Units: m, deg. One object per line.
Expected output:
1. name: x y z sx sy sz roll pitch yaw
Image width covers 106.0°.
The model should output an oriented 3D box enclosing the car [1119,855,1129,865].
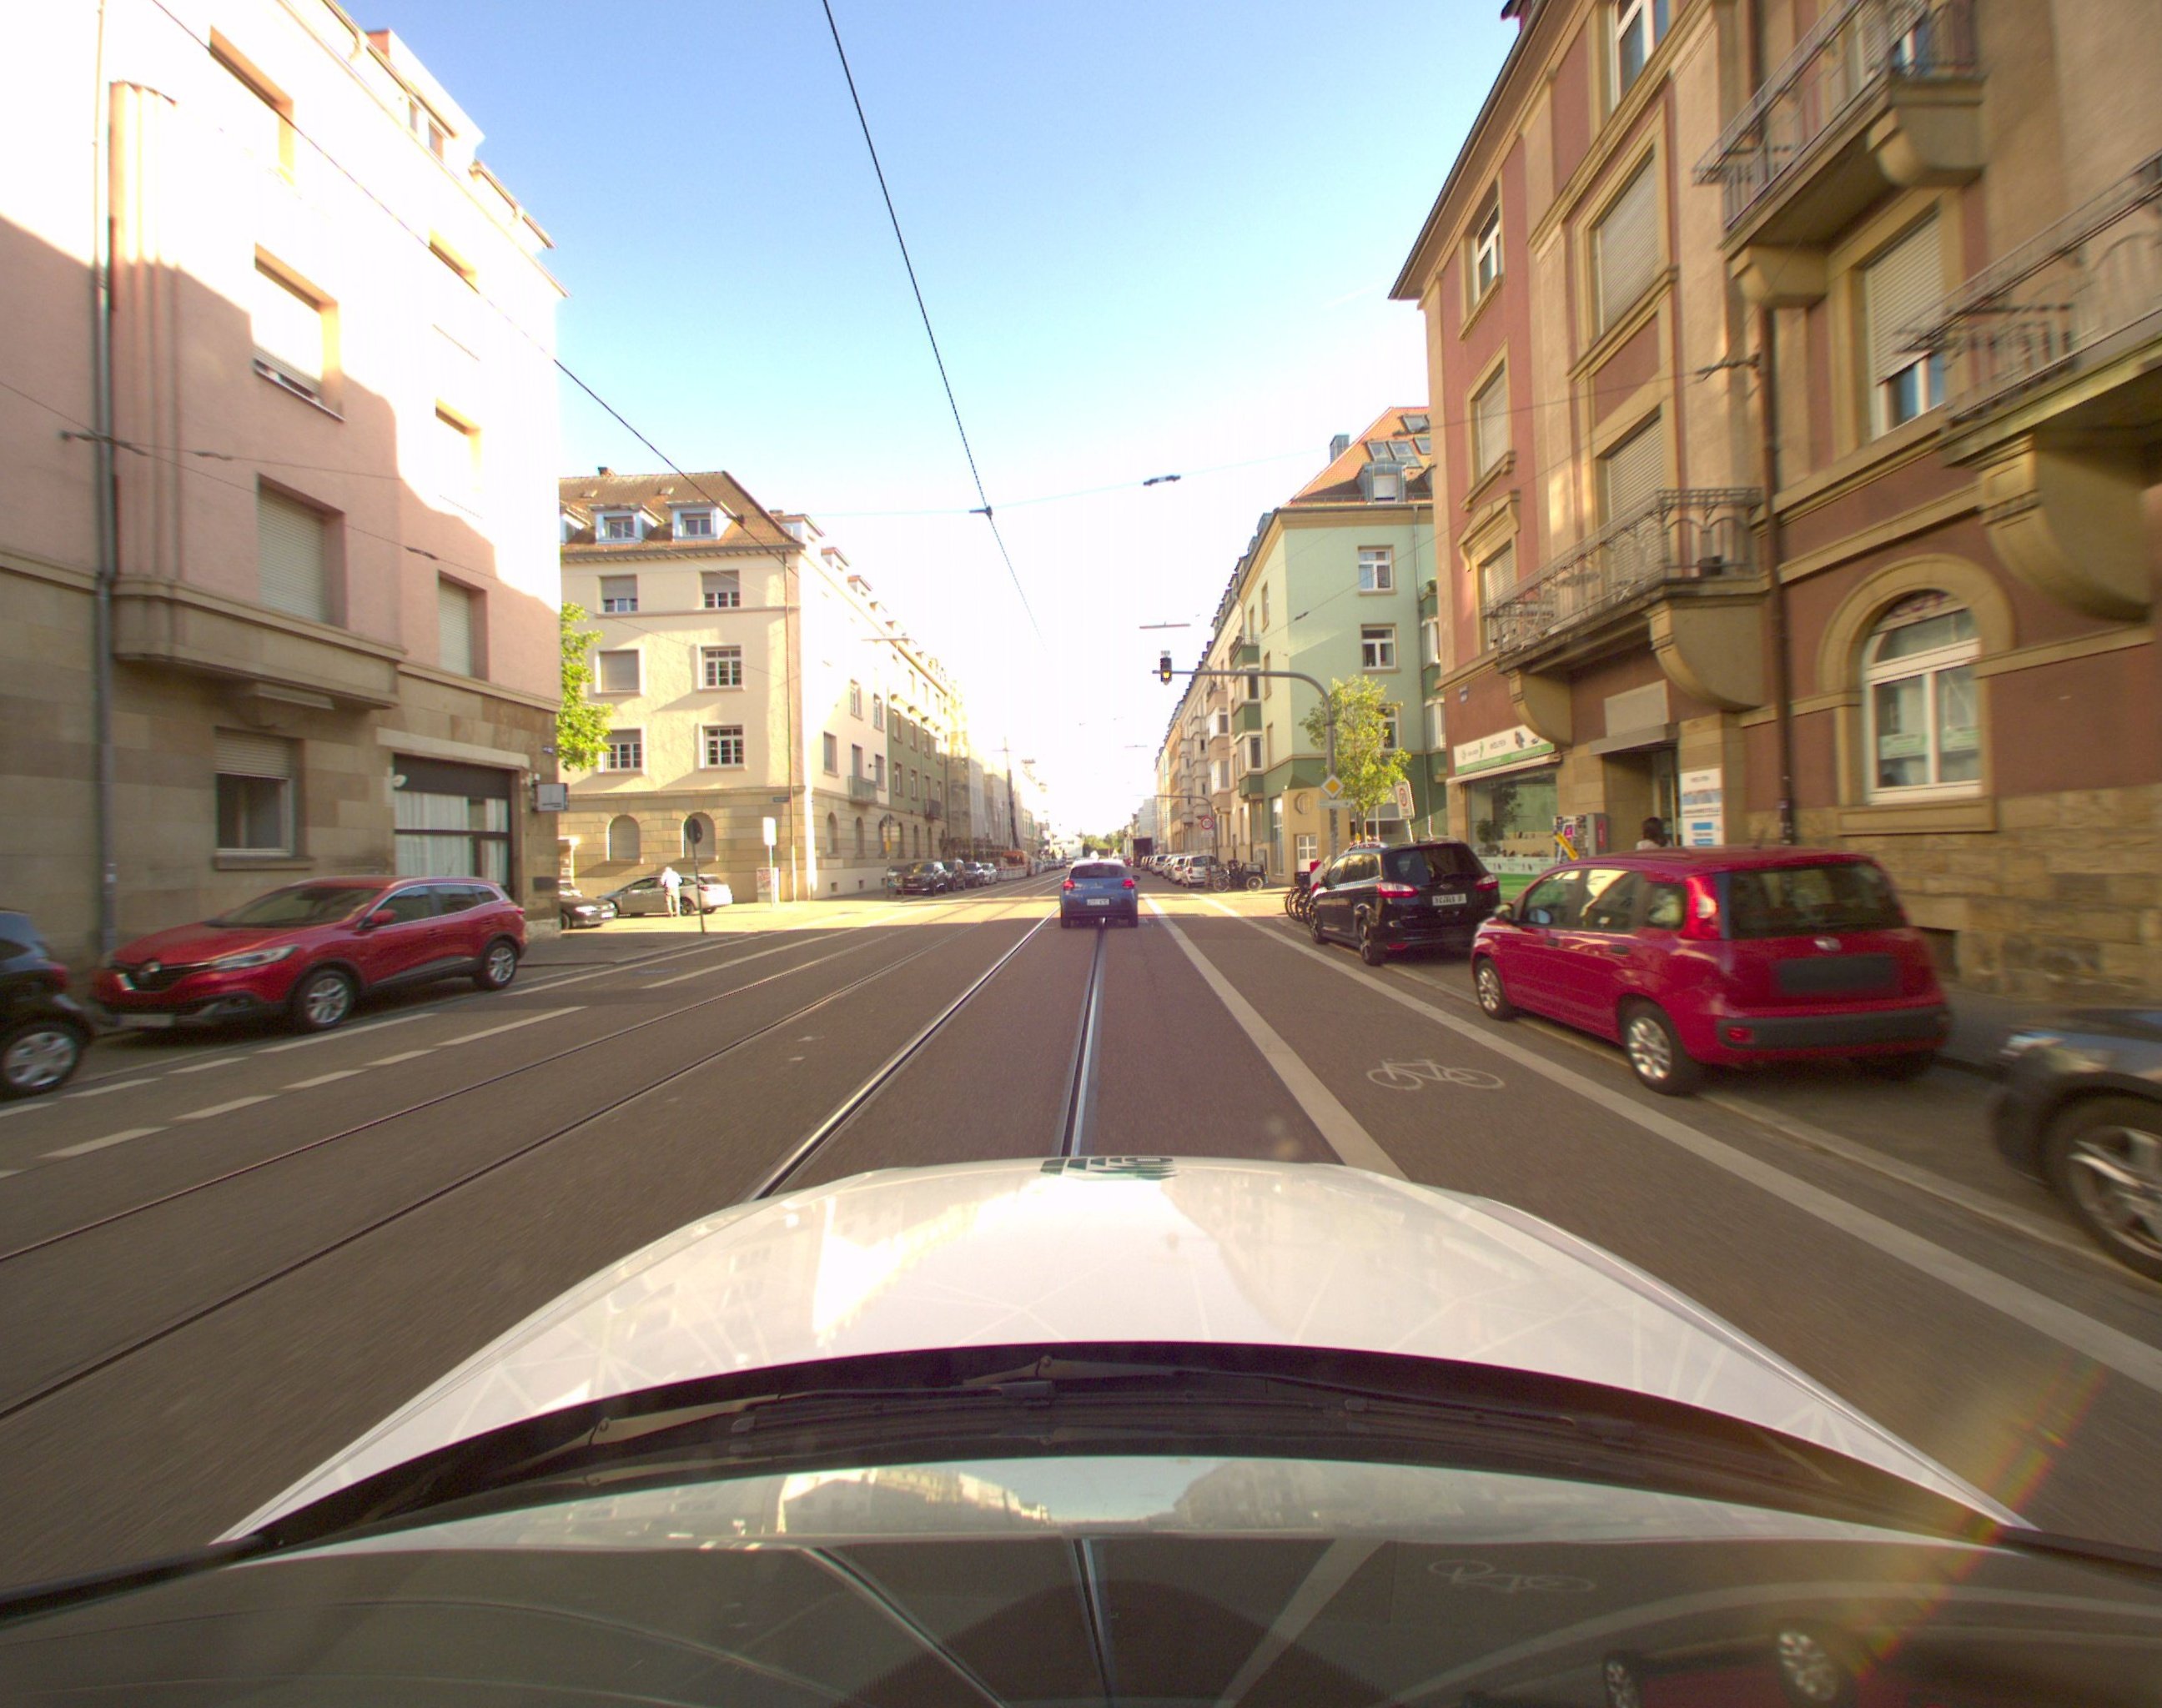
1. car: 10.691 1.465 203.292 2.211 2.284 4.086 -2 -1 2

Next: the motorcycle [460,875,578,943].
1. motorcycle: -13.068 1.241 19.003 0.938 1.418 2.038 -2 -1 32

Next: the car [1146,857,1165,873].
1. car: 7.708 1.119 84.316 1.657 1.519 4.224 -2 0 2

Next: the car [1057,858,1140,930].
1. car: 0.451 0.847 19.023 1.728 1.507 3.995 0 0 2

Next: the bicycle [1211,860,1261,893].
1. bicycle: 6.240 0.889 32.811 1.835 1.154 0.469 -5 -1 2

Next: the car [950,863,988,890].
1. car: -7.089 1.384 51.918 1.777 1.627 4.608 0 0 0

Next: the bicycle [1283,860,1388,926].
1. bicycle: 5.214 0.800 16.742 1.951 1.227 0.527 -3 -1 2

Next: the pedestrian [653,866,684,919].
1. pedestrian: -13.772 1.286 27.199 0.604 1.712 0.732 -2 0 2

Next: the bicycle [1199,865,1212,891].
1. bicycle: 5.359 1.016 35.103 0.351 1.044 1.730 -2 0 4

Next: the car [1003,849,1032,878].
1. car: -5.829 0.865 75.323 2.137 2.475 4.979 -2 0 0

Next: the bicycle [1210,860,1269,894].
1. bicycle: 6.235 0.890 32.111 2.078 1.154 0.849 -5 0 2

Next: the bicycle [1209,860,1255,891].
1. bicycle: 6.305 0.888 34.048 1.716 1.154 0.469 -5 -1 2

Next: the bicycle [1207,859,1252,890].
1. bicycle: 6.307 0.850 34.596 1.716 1.154 0.469 -5 -1 2

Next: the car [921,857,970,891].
1. car: -7.563 1.093 45.897 1.776 1.816 4.531 0 0 3

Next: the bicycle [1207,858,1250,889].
1. bicycle: 6.373 0.849 35.275 1.716 1.154 0.469 -5 -1 2

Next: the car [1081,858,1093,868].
1. car: 1.108 1.485 138.988 1.818 1.632 4.493 -2 0 2

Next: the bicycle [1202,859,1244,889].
1. bicycle: 6.379 0.884 36.524 1.716 1.154 0.469 -5 -1 2

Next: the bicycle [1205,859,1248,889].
1. bicycle: 6.418 0.871 35.895 1.716 1.154 0.469 -5 -1 2

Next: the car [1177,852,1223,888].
1. car: 5.809 0.758 40.041 1.776 1.632 4.002 -2 0 2

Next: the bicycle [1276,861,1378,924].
1. bicycle: 5.217 0.806 17.303 1.951 1.227 0.527 -3 -1 2

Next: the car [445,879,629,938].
1. car: -15.343 1.513 23.119 3.972 1.394 1.748 -2 1 1

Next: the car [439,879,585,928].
1. car: -20.006 1.708 28.759 3.782 1.465 1.842 -2 1 1

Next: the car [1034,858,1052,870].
1. car: -5.389 1.439 115.995 2.136 1.621 4.002 -3 0 2

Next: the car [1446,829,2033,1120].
1. car: 4.531 0.693 6.453 1.746 1.594 3.733 -2 0 3

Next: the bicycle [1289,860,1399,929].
1. bicycle: 5.197 0.795 16.170 1.951 1.227 0.527 -3 -1 2

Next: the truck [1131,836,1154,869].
1. truck: 8.338 -0.153 110.903 2.841 4.083 11.280 -2 0 3

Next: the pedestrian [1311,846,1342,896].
1. pedestrian: 8.090 0.569 26.885 0.730 1.633 0.700 1 -2 -13

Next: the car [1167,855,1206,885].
1. car: 5.874 0.871 45.839 1.776 1.576 4.329 -2 0 2

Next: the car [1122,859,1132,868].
1. car: 8.142 1.698 144.209 1.758 1.487 4.034 -2 0 2

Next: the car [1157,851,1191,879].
1. car: 6.409 0.753 56.669 1.650 1.752 4.599 -2 0 -2

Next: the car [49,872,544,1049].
1. car: -8.949 1.061 9.988 1.777 1.606 4.397 0 0 0

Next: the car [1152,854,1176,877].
1. car: 6.984 0.926 69.053 1.723 1.827 4.689 -2 0 2

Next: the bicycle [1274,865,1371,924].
1. bicycle: 5.280 0.877 17.881 1.916 1.161 0.527 -3 -1 2

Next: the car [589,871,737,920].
1. car: -14.578 1.442 28.587 4.202 1.465 1.783 -2 1 1

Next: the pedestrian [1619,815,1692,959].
1. pedestrian: 6.911 0.387 9.812 0.511 1.687 0.448 -2 0 1

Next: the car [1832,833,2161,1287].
1. car: 4.397 0.670 1.686 1.648 1.513 4.476 -2 0 2

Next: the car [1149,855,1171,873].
1. car: 7.225 0.919 74.781 1.715 1.487 4.224 -2 0 2

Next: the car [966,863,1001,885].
1. car: -6.927 1.388 58.194 1.710 1.502 4.392 0 0 4

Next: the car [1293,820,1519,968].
1. car: 4.721 0.524 12.613 1.746 1.735 4.509 -5 -1 3

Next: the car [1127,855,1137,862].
1. car: 11.727 0.959 188.735 2.172 1.486 4.162 -2 0 2

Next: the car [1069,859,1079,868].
1. car: -1.326 1.758 157.665 1.819 1.632 4.047 -2 0 2

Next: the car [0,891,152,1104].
1. car: -9.000 1.094 5.557 1.776 1.553 3.021 0 0 2

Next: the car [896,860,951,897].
1. car: -7.757 1.166 40.539 1.777 1.690 4.667 0 0 0

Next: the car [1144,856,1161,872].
1. car: 7.801 1.051 89.163 1.657 1.647 4.224 -2 0 2
